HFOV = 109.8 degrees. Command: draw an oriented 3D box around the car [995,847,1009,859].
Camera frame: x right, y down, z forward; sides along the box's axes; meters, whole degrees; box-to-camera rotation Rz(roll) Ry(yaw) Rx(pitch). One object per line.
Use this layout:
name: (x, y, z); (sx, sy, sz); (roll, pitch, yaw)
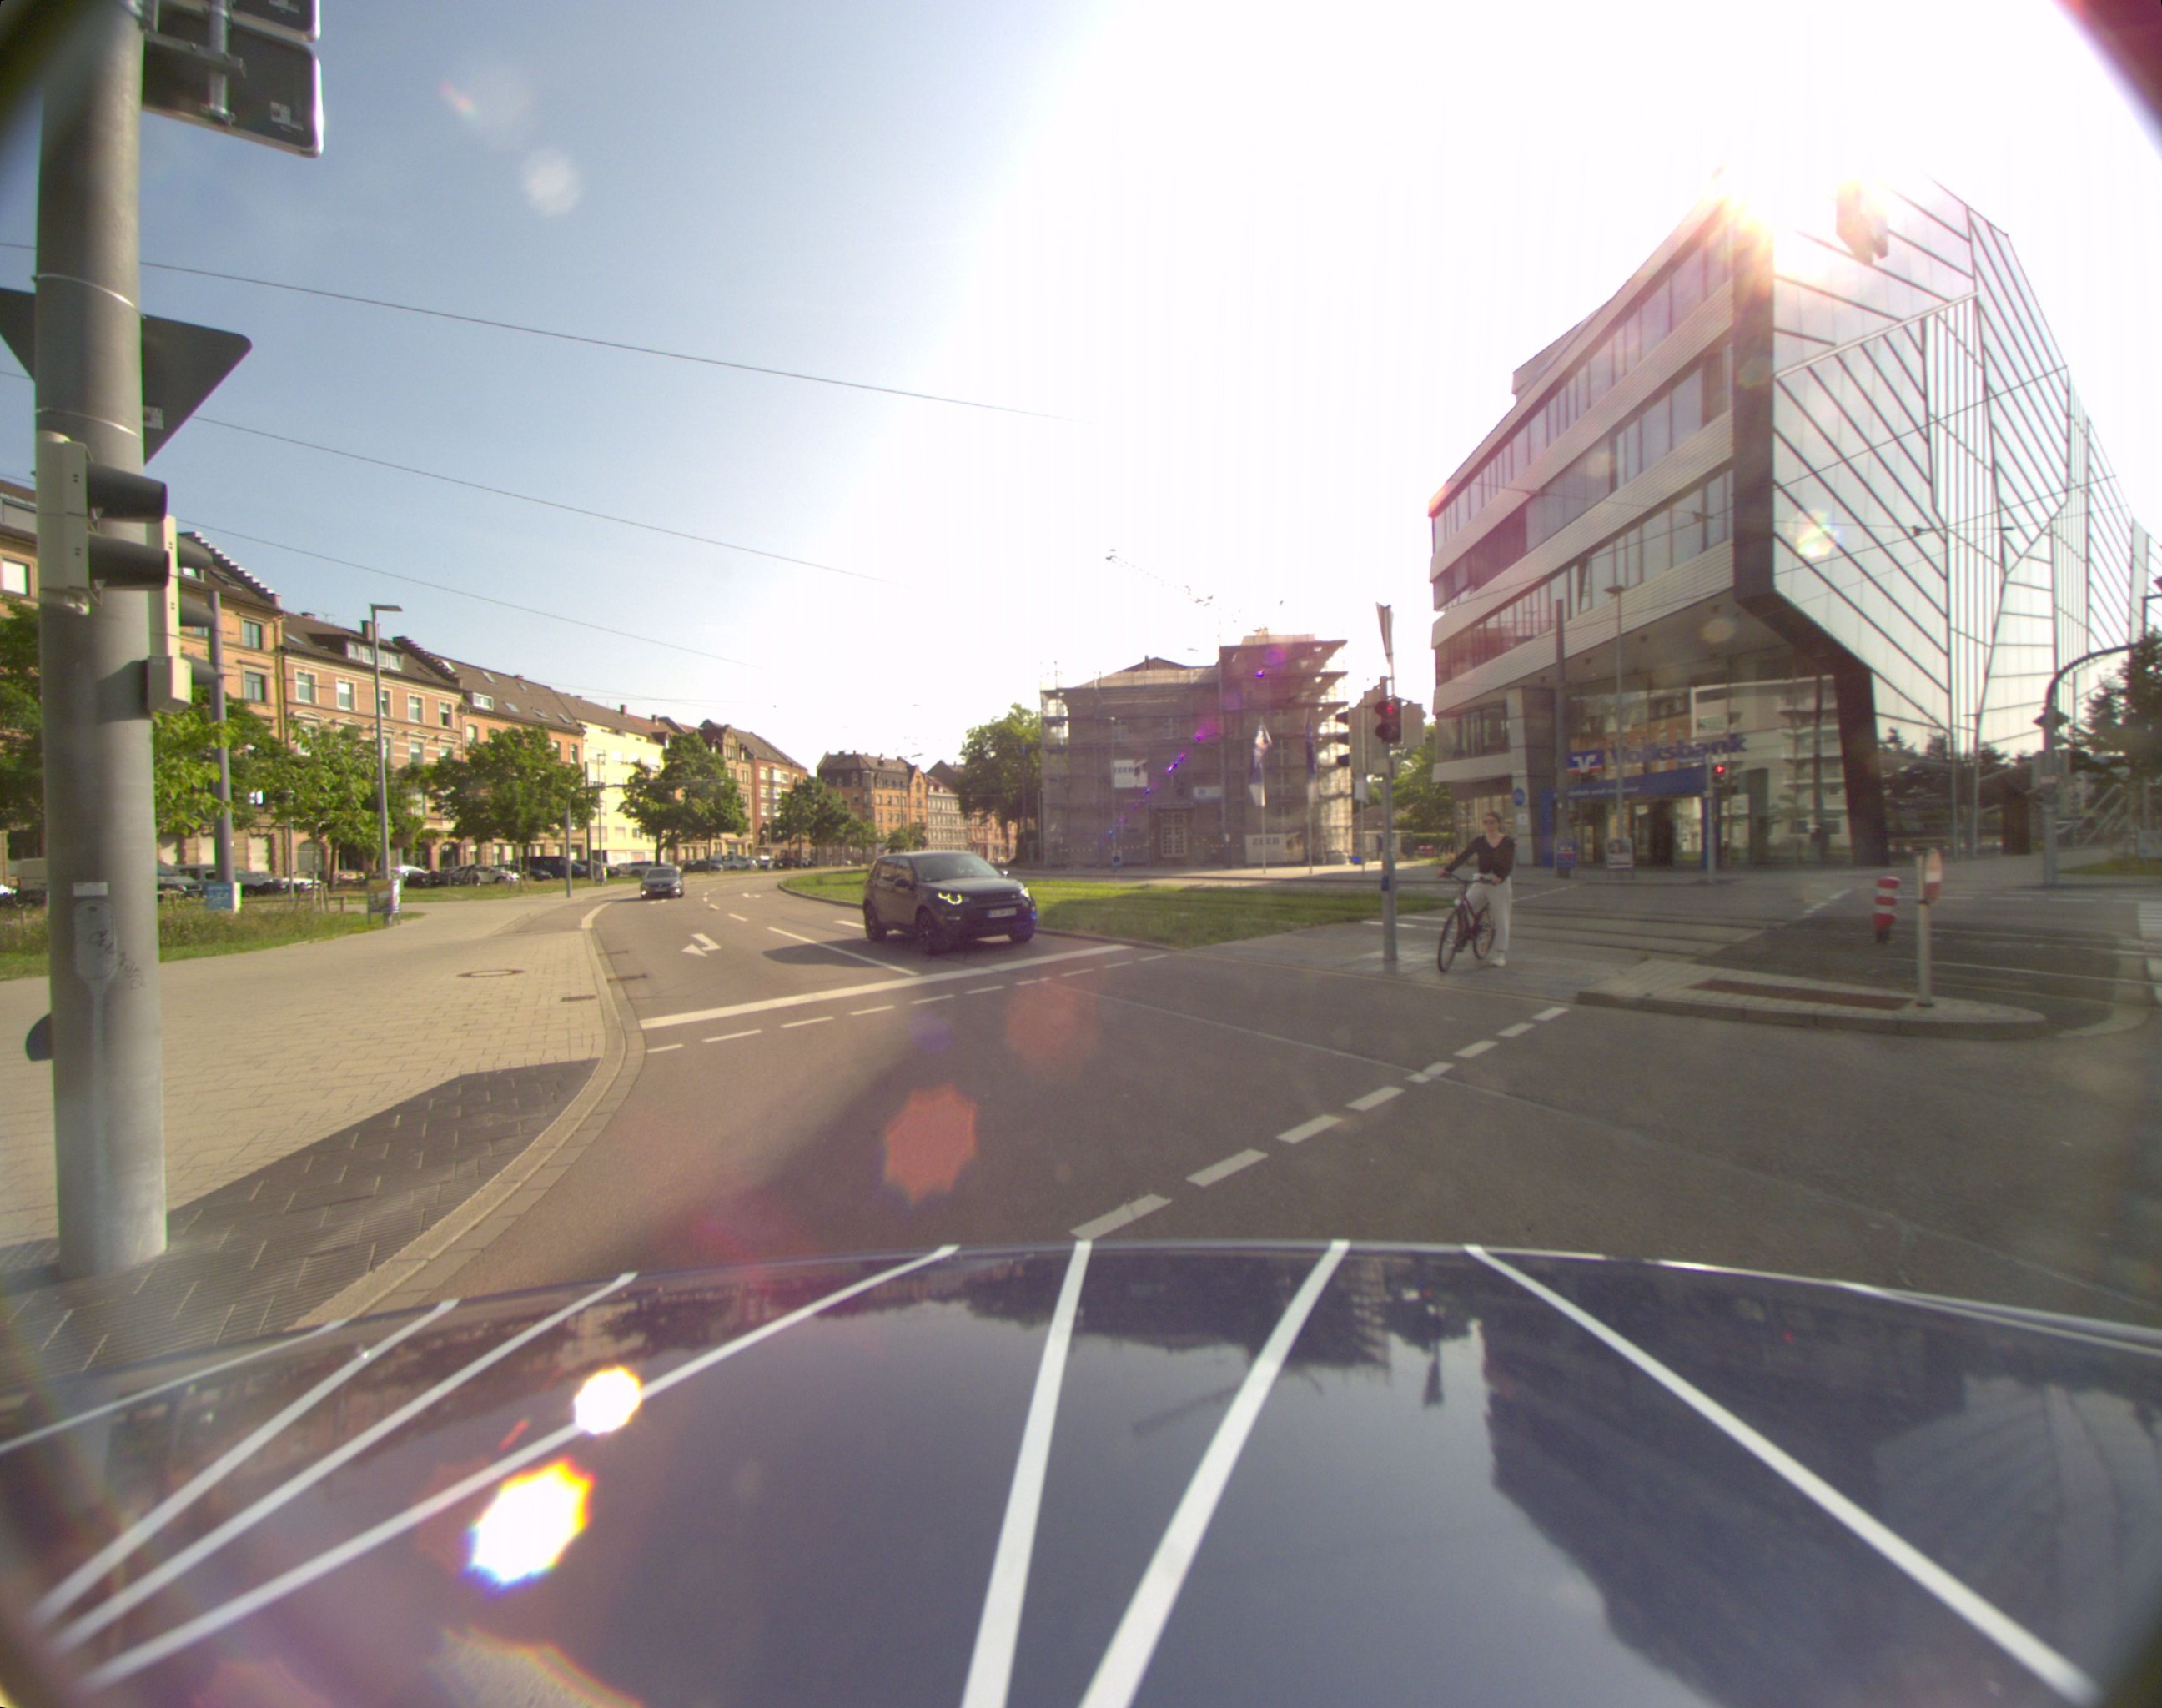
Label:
car: (-15.366, -0.214, 148.441); (1.998, 1.968, 3.999); (-2, 2, 2)

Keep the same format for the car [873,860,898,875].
car: (-22.161, 1.513, 86.244); (1.656, 1.625, 3.999); (-2, 1, 0)

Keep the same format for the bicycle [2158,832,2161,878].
bicycle: (26.132, -0.027, 17.983); (1.962, 1.050, 0.418); (-4, 3, -26)

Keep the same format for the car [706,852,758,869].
car: (-38.594, 0.709, 84.050); (4.936, 1.827, 1.717); (-1, 0, -35)

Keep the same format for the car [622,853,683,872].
car: (-39.784, 0.773, 70.604); (4.745, 1.755, 1.718); (-1, 0, -23)

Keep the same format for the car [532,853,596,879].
car: (-39.537, 0.898, 58.206); (3.861, 1.795, 1.782); (-2, 1, -28)

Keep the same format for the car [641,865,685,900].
car: (-19.392, 1.259, 35.292); (1.647, 1.411, 3.886); (-2, 1, -29)

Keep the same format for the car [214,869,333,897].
car: (-41.671, 1.460, 39.325); (3.862, 1.242, 1.718); (-2, 1, -30)

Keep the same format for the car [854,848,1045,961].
car: (-2.509, 0.769, 13.605); (1.806, 1.668, 4.210); (-1, 0, -33)

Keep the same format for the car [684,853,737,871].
car: (-37.671, 0.835, 77.343); (4.745, 1.755, 1.718); (-1, 0, -23)

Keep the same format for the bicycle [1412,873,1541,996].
bicycle: (4.428, 0.825, 8.438); (1.808, 1.092, 0.668); (-4, 3, -42)

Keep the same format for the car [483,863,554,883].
car: (-40.363, 1.325, 54.620); (3.862, 1.242, 1.718); (-2, 1, -30)

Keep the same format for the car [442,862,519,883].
car: (-40.916, 1.247, 51.886); (3.862, 1.242, 1.718); (-2, 1, -30)

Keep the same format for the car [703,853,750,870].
car: (-37.983, 0.762, 81.485); (4.427, 1.755, 1.717); (-1, 0, -31)

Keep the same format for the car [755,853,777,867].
car: (-43.989, 0.828, 106.154); (1.327, 1.722, 2.787); (-1, 1, 15)

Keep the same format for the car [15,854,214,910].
car: (-42.386, 1.185, 33.513); (5.052, 2.166, 1.876); (-2, 1, -23)

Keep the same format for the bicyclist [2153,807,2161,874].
bicyclist: (26.118, -0.337, 17.941); (0.933, 1.577, 0.782); (-4, 3, -26)

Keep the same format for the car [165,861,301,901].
car: (-41.236, 1.273, 37.112); (3.990, 1.696, 1.876); (-2, 1, -30)

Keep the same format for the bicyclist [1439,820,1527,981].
bicyclist: (4.489, 0.484, 8.483); (0.638, 1.693, 0.668); (-5, 3, -42)
